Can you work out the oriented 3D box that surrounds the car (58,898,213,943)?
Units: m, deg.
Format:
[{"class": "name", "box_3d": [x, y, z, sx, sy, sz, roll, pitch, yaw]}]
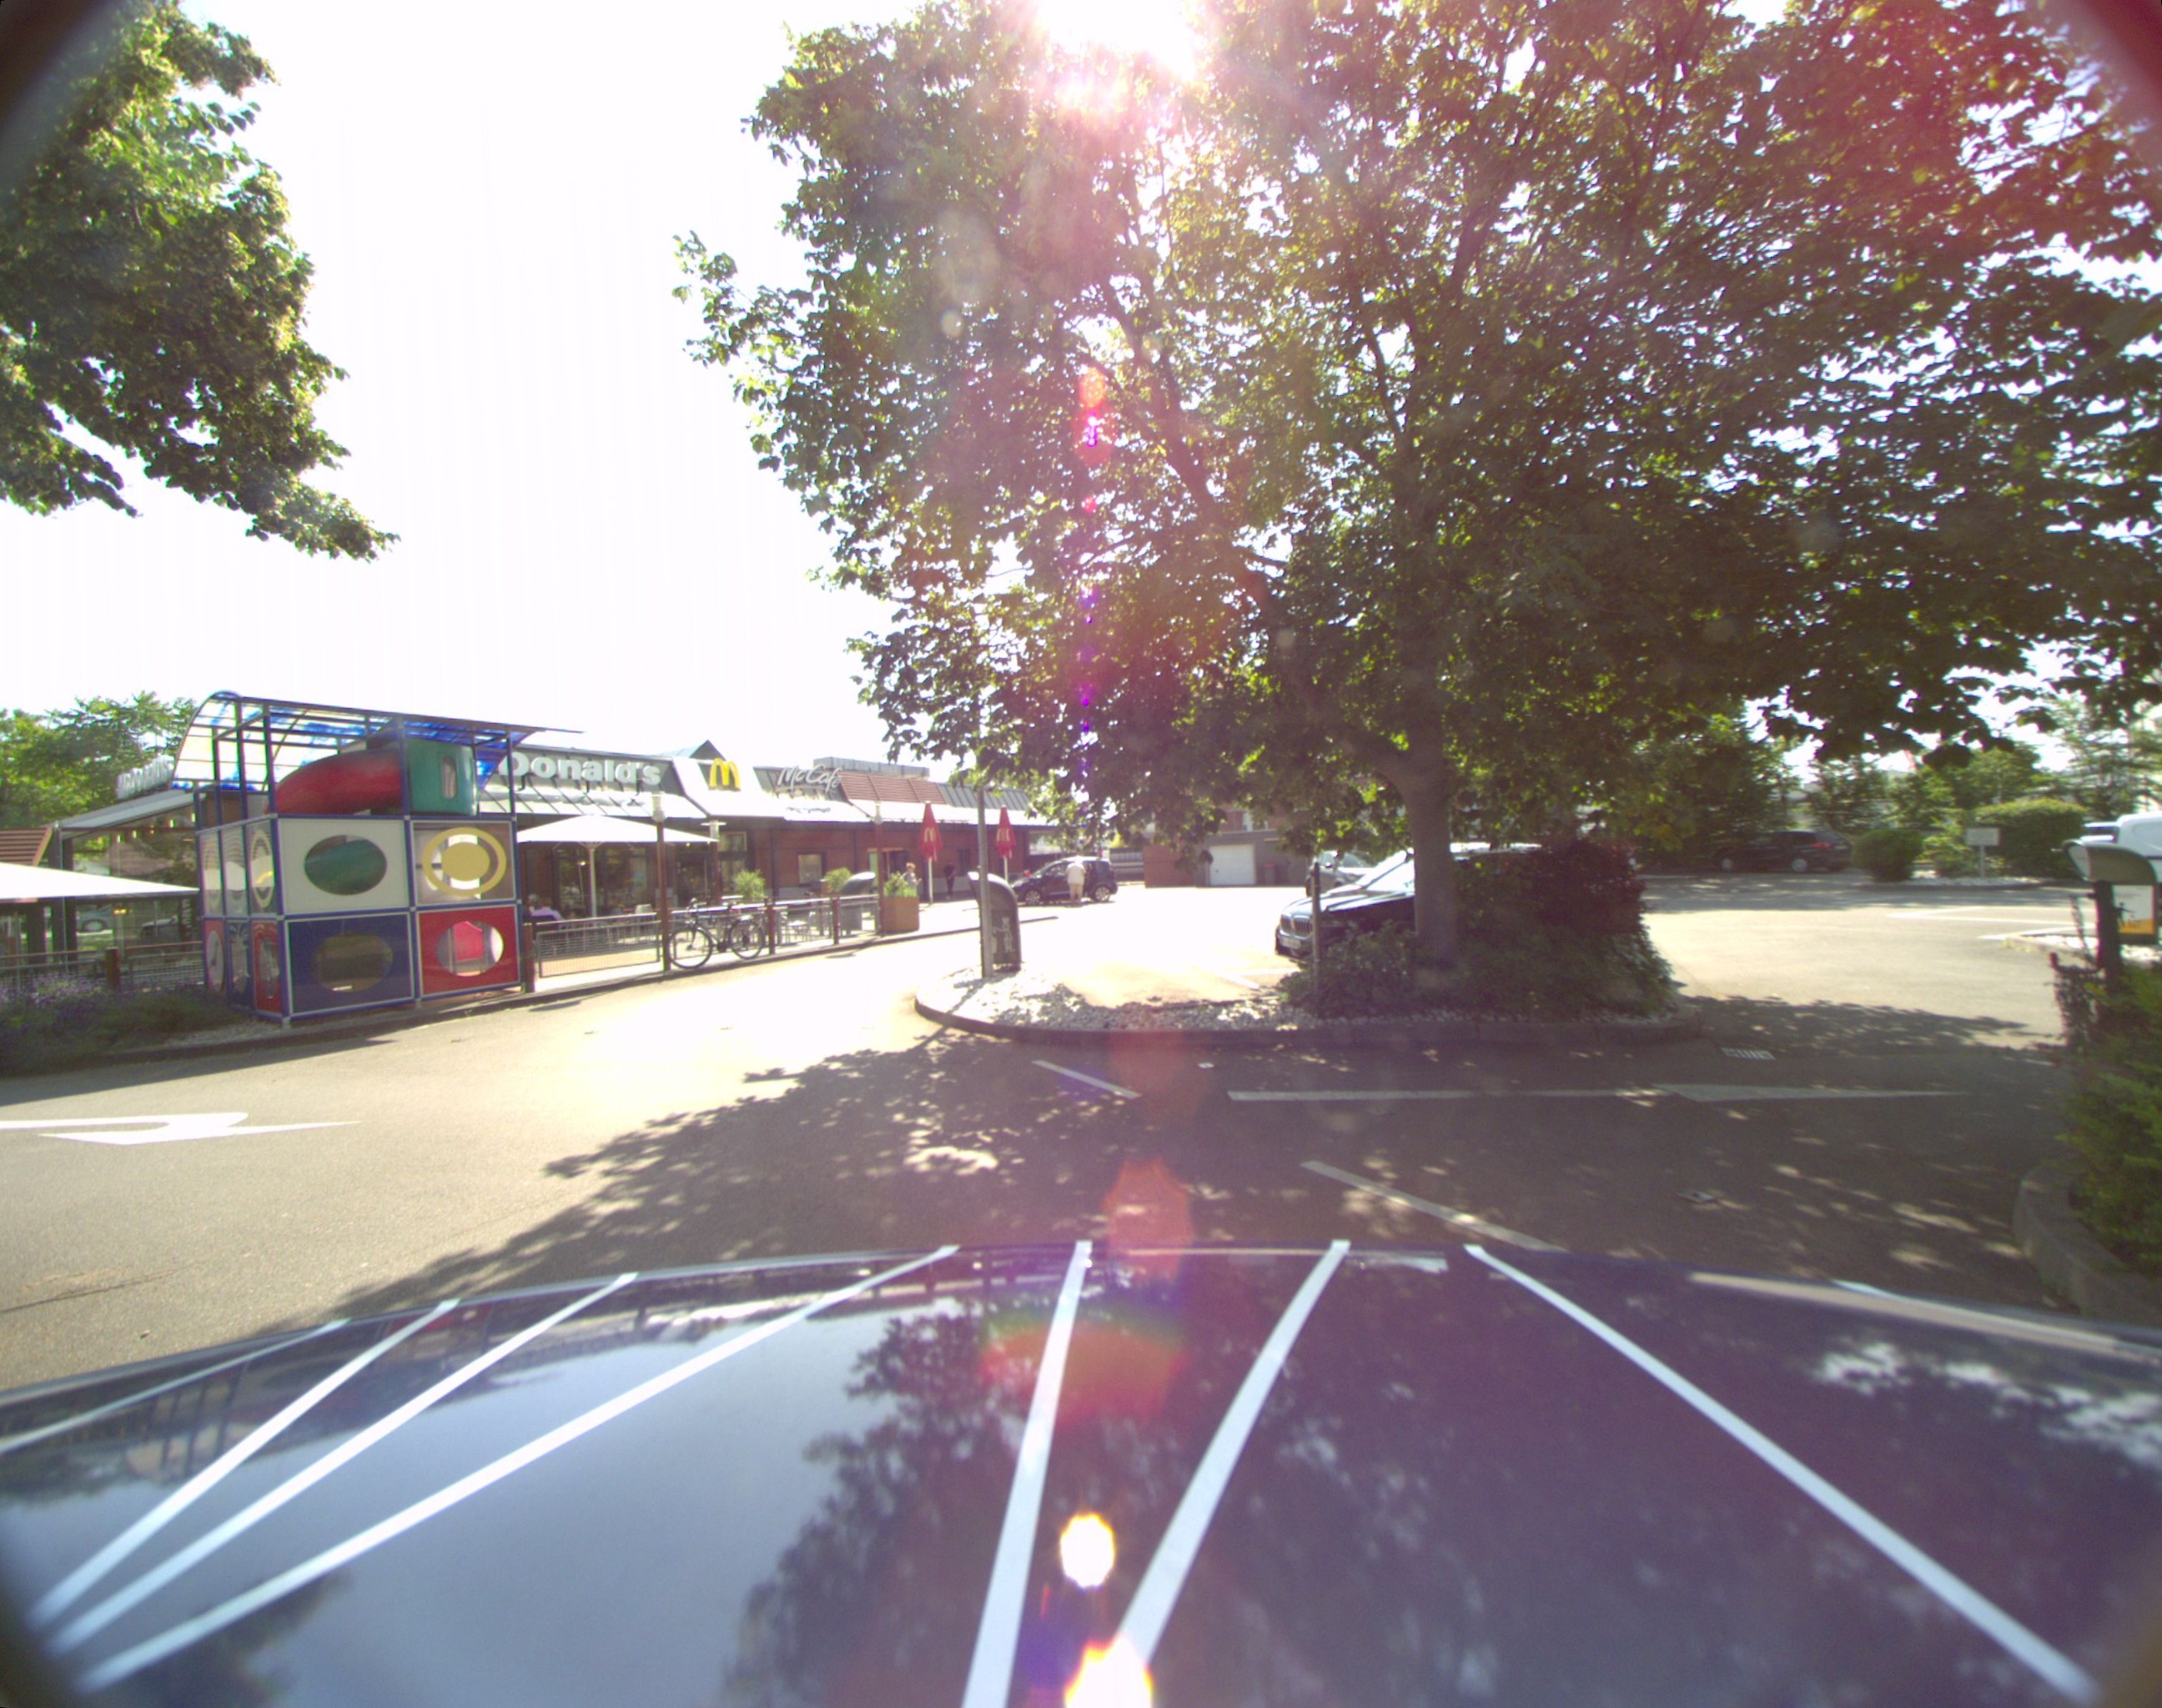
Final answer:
[{"class": "car", "box_3d": [-44.534, 3.075, 35.911, 1.826, 1.617, 4.379, 1, 2, 33]}]

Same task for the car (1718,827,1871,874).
[{"class": "car", "box_3d": [26.569, -0.131, 28.496, 1.820, 1.567, 3.866, -2, 1, -9]}]

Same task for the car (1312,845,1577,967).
[{"class": "car", "box_3d": [6.489, 0.818, 13.602, 4.231, 1.788, 1.757, -2, 1, -19]}]

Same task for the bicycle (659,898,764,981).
[{"class": "bicycle", "box_3d": [-6.281, 1.424, 13.000, 0.309, 1.180, 1.615, 1, 4, 35]}]

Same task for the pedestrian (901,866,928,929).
[{"class": "pedestrian", "box_3d": [-4.280, 1.107, 19.576, 0.597, 1.558, 0.571, -2, 1, -9]}]

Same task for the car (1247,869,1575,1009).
[{"class": "car", "box_3d": [4.486, 1.033, 10.399, 4.003, 1.485, 1.653, -2, 0, -18]}]

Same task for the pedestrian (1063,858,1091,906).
[{"class": "pedestrian", "box_3d": [-0.153, 0.978, 26.929, 0.833, 1.628, 0.788, -2, 0, -7]}]

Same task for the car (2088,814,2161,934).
[{"class": "car", "box_3d": [17.789, 0.254, 10.461, 1.750, 1.817, 4.348, -3, 0, -15]}]

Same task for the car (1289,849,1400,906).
[{"class": "car", "box_3d": [7.875, 0.647, 23.019, 1.621, 1.523, 3.609, -2, 1, -9]}]

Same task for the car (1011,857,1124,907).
[{"class": "car", "box_3d": [-0.551, 0.998, 28.366, 3.999, 1.648, 1.955, -2, 0, -7]}]

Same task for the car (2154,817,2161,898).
[{"class": "car", "box_3d": [22.410, 0.038, 13.270, 1.906, 1.574, 3.806, -2, 1, -13]}]

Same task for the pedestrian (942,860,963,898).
[{"class": "pedestrian", "box_3d": [-5.683, 1.114, 33.601, 0.541, 1.642, 0.624, -2, 0, 33]}]
